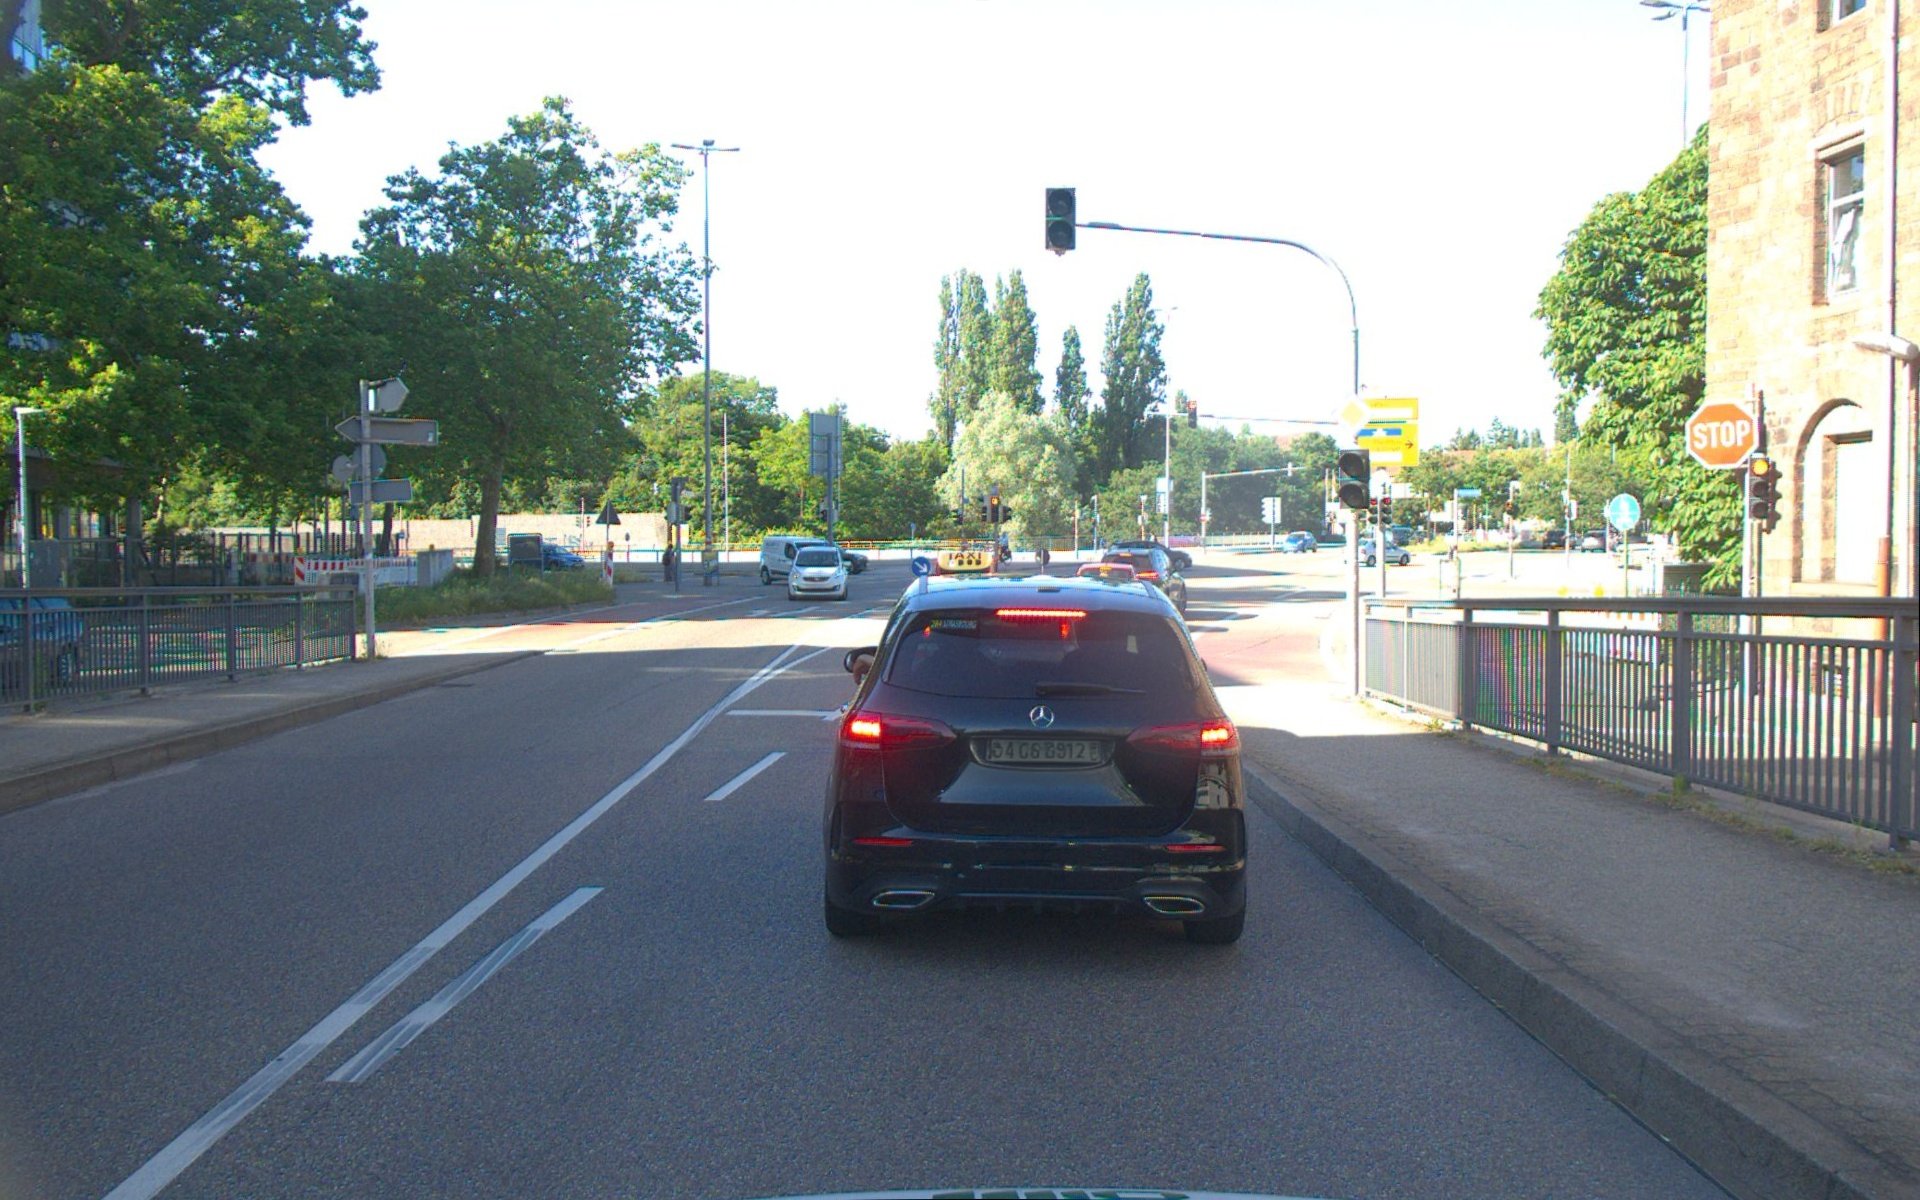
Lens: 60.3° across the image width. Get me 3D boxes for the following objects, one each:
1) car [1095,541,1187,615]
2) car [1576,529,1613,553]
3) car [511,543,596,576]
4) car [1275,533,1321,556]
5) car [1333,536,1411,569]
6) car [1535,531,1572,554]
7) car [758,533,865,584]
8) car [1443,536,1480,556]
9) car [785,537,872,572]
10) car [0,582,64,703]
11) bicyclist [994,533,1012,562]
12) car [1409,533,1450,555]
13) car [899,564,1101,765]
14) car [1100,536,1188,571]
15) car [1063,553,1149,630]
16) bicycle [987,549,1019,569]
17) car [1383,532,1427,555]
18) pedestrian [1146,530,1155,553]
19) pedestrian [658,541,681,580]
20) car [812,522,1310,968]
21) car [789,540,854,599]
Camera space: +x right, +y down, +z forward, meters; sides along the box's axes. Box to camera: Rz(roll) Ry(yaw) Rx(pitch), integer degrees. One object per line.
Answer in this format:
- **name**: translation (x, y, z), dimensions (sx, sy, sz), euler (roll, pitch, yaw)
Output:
- **car**: translation (4.799, -0.572, 43.375), dimensions (1.685, 1.843, 4.300), euler (0, 1, 16)
- **car**: translation (43.871, -4.078, 114.340), dimensions (1.707, 1.524, 3.990), euler (0, 0, 32)
- **car**: translation (-20.899, -2.068, 84.964), dimensions (4.320, 1.658, 1.885), euler (1, 2, 34)
- **car**: translation (24.407, -3.976, 119.261), dimensions (1.846, 1.605, 3.988), euler (1, 3, 34)
- **car**: translation (21.653, -2.505, 86.921), dimensions (3.953, 1.658, 1.868), euler (-1, 2, -35)
- **car**: translation (43.988, -4.255, 122.608), dimensions (1.850, 1.574, 3.991), euler (1, 0, 31)
- **car**: translation (-5.660, -1.559, 62.565), dimensions (1.902, 1.825, 4.839), euler (-3, 2, -35)
- **car**: translation (41.833, -4.534, 137.935), dimensions (1.846, 1.605, 3.988), euler (1, 3, 34)
- **car**: translation (-6.282, -2.189, 79.388), dimensions (3.903, 1.658, 1.892), euler (0, 2, 4)
- **car**: translation (-14.940, 0.651, 23.926), dimensions (1.814, 1.722, 4.000), euler (0, 2, -1)
- **bicyclist**: translation (2.309, -2.842, 89.437), dimensions (0.518, 1.578, 0.801), euler (0, 2, 45)
- **car**: translation (35.489, -4.259, 125.060), dimensions (1.846, 1.605, 3.988), euler (1, 3, 34)
- **car**: translation (0.357, 0.488, 15.150), dimensions (1.606, 1.556, 3.475), euler (-1, 2, 1)
- **car**: translation (8.932, -2.249, 80.493), dimensions (3.915, 1.658, 1.886), euler (-1, 2, -11)
- **car**: translation (3.362, -0.238, 37.720), dimensions (1.685, 1.548, 3.490), euler (0, 3, 9)
- **bicycle**: translation (2.313, -2.216, 89.464), dimensions (0.518, 1.068, 1.976), euler (0, 2, 45)
- **car**: translation (31.973, -4.093, 118.849), dimensions (1.846, 1.605, 3.988), euler (1, 3, 34)
- **pedestrian**: translation (13.405, -4.104, 116.502), dimensions (0.443, 1.613, 0.499), euler (0, 2, 39)
- **pedestrian**: translation (-11.593, -1.570, 65.987), dimensions (0.690, 1.552, 0.744), euler (1, 1, 9)
- **car**: translation (0.338, 0.513, 8.189), dimensions (1.840, 1.641, 3.999), euler (1, 1, -1)
- **car**: translation (-4.285, -0.985, 51.654), dimensions (1.742, 1.663, 4.001), euler (-1, 3, -1)
